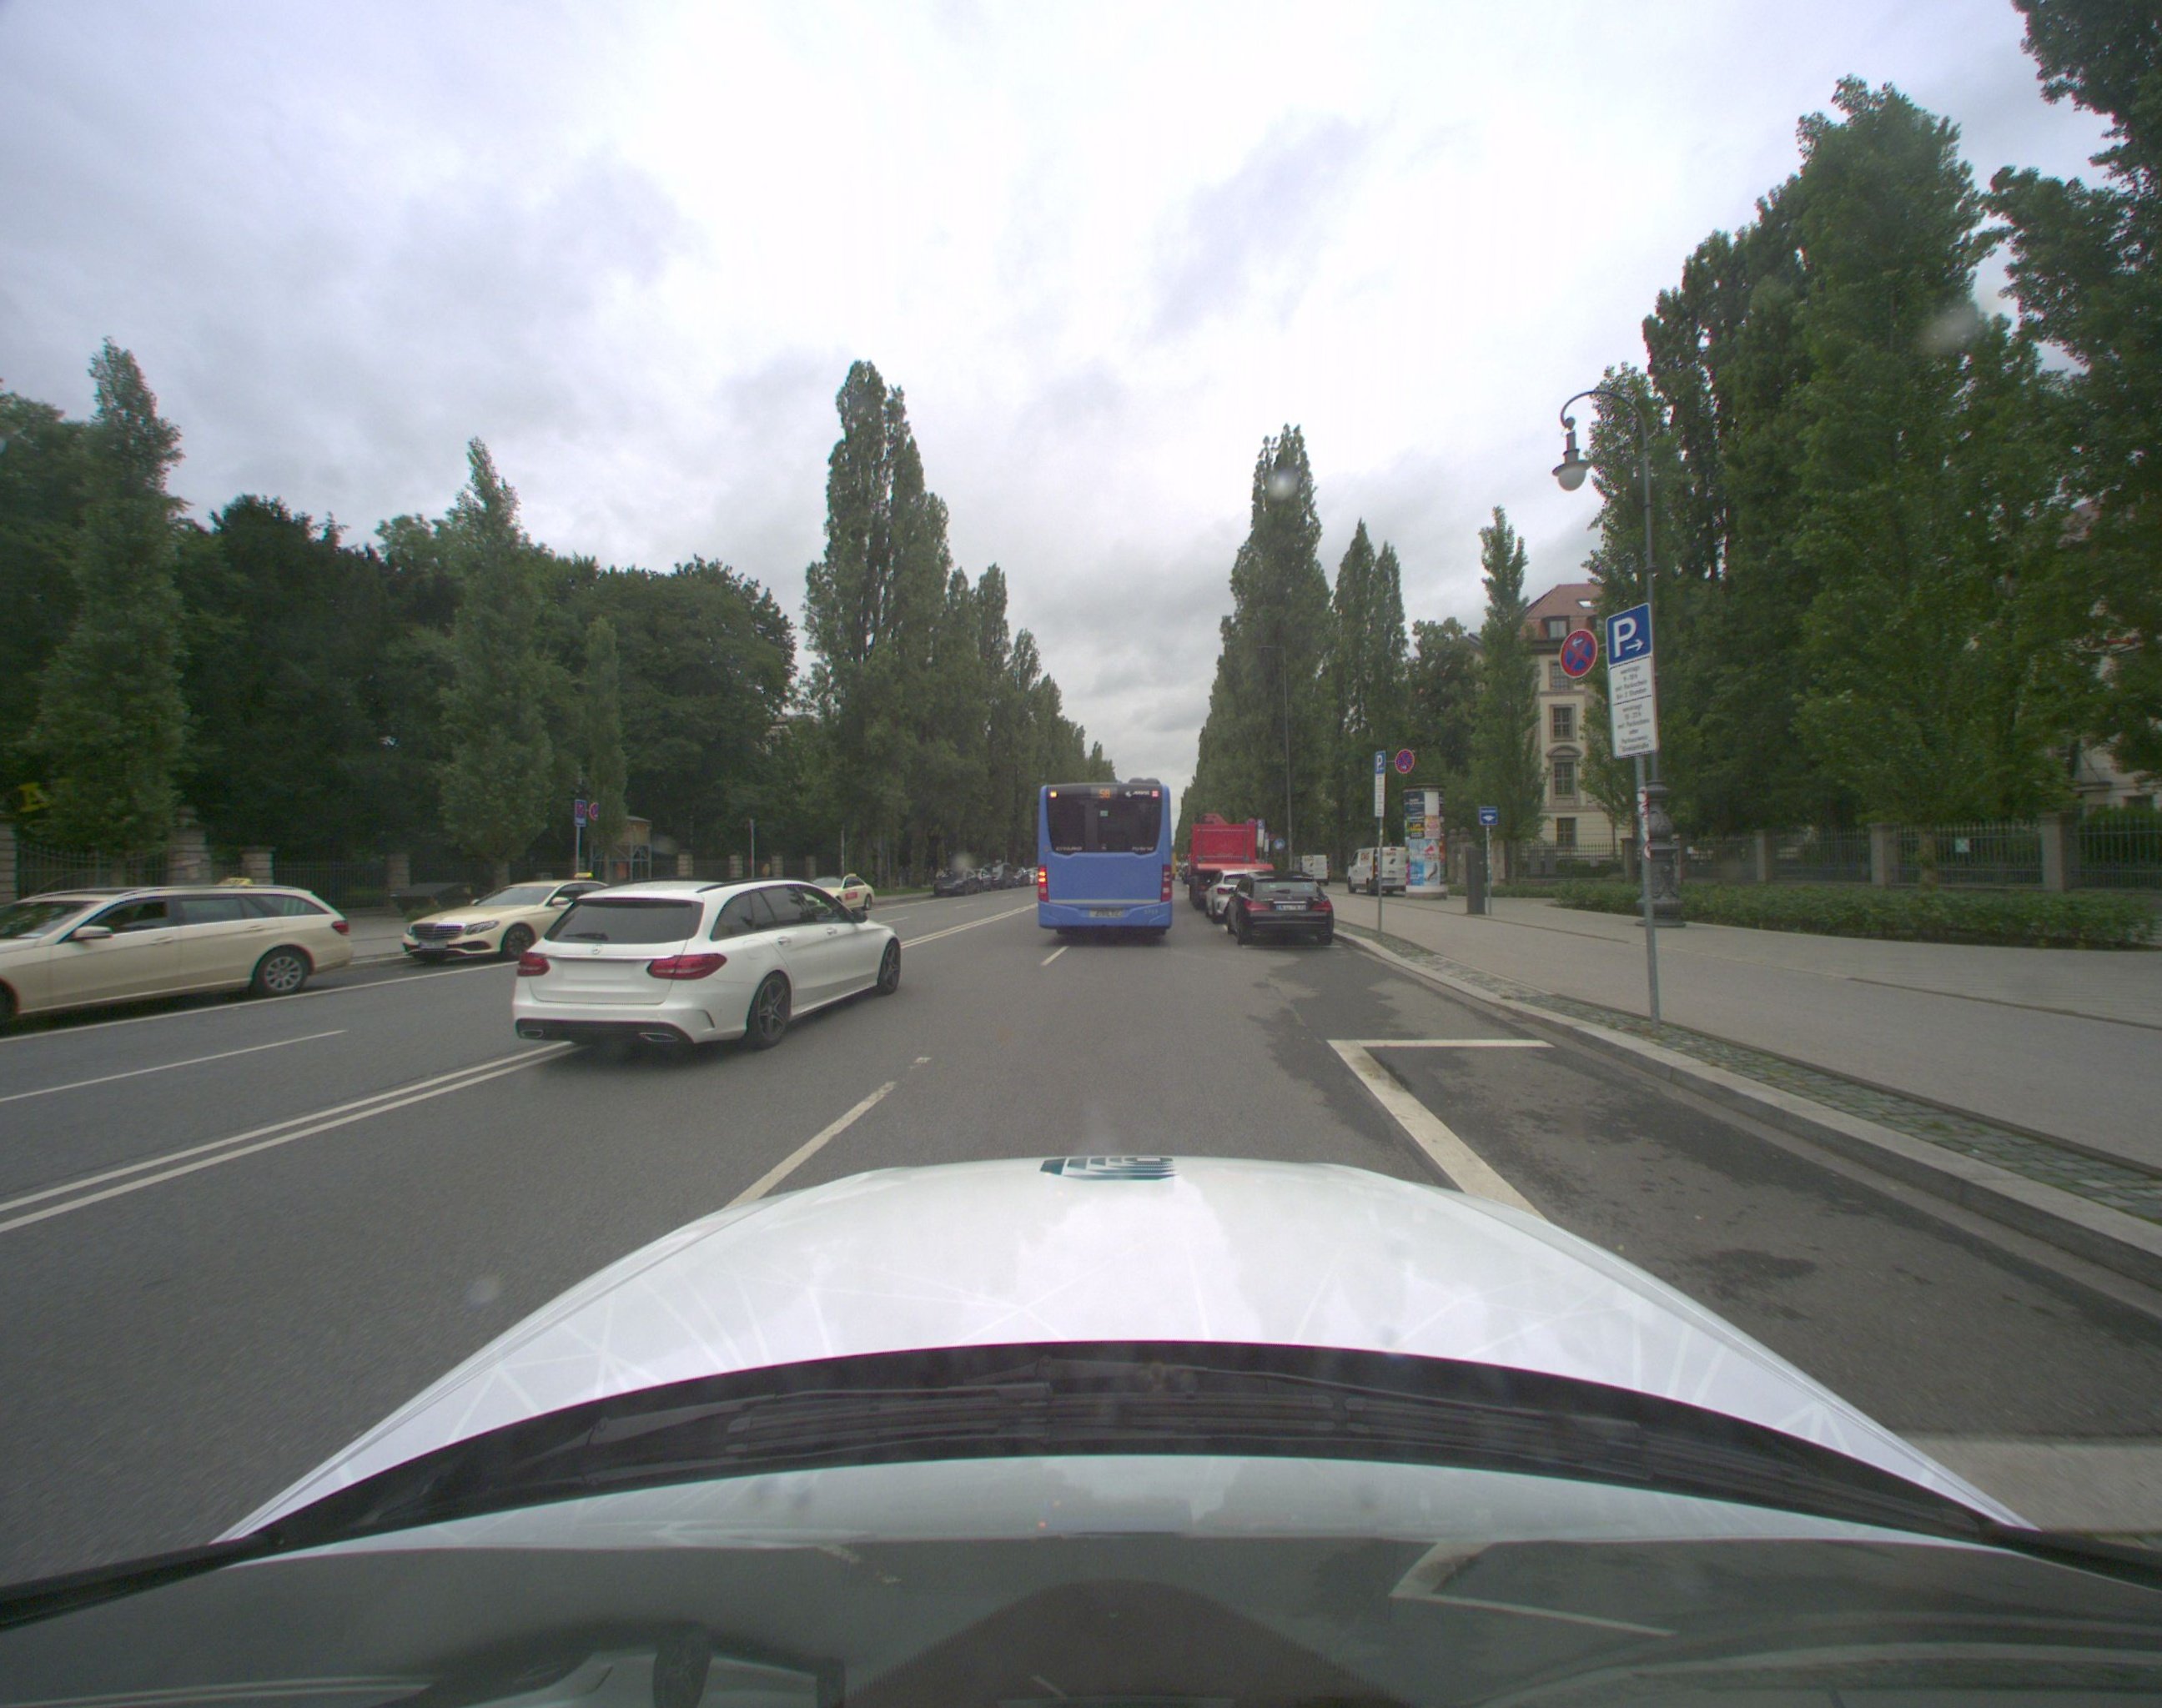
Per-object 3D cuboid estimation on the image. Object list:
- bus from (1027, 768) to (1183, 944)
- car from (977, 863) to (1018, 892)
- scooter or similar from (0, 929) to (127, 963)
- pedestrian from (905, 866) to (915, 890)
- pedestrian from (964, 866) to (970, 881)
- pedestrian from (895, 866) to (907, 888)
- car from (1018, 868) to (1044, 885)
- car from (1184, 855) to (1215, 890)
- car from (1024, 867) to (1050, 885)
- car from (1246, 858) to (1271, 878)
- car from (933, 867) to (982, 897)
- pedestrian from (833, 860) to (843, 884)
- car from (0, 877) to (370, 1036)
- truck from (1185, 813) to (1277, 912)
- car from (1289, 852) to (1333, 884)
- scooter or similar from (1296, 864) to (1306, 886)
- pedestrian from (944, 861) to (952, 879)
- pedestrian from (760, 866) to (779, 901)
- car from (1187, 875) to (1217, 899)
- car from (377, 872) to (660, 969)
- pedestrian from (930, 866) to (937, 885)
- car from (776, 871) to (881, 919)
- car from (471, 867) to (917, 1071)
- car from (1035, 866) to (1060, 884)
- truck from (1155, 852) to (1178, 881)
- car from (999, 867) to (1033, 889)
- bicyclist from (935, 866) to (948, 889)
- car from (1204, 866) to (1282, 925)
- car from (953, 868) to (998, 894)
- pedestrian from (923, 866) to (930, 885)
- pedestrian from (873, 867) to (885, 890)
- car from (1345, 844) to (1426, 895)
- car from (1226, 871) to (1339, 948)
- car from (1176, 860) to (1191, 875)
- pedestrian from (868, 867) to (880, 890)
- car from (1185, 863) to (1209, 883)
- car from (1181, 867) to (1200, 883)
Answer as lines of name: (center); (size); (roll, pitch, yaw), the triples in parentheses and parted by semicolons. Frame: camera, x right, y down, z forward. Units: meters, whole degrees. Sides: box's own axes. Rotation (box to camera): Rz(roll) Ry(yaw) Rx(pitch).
bus: (0.735, 0.093, 19.464); (2.843, 3.214, 9.068); (0, -1, 4)
car: (-6.206, 1.716, 61.028); (1.983, 1.956, 4.945); (-3, -1, 6)
scooter or similar: (-21.894, 1.948, 17.025); (2.246, 0.518, 1.318); (-1, -1, -35)
pedestrian: (-14.528, 2.001, 69.134); (0.663, 2.014, 0.639); (0, -1, 5)
pedestrian: (-12.606, 2.152, 90.260); (0.547, 1.748, 0.673); (0, -1, 5)
pedestrian: (-15.188, 1.937, 68.625); (0.743, 1.854, 0.759); (0, -1, 7)
car: (-4.543, 2.010, 74.406); (1.668, 1.422, 4.244); (-3, -1, 6)
car: (8.910, 1.371, 61.468); (2.064, 2.479, 6.293); (0, -1, 6)
car: (-4.267, 2.120, 79.651); (1.776, 1.588, 4.469); (-3, -1, 7)
car: (18.501, 1.451, 85.086); (1.984, 1.925, 5.331); (-1, -1, 5)
car: (-7.407, 1.655, 49.231); (1.773, 1.596, 4.621); (-3, -1, 6)
pedestrian: (-20.345, 1.509, 68.204); (0.694, 2.014, 0.561); (0, -1, 6)
car: (-11.645, 1.124, 9.657); (1.809, 1.559, 4.866); (-3, -1, 6)
truck: (5.454, 0.331, 31.320); (2.699, 3.110, 10.444); (-1, -1, 6)
car: (15.023, 0.934, 53.445); (1.983, 1.946, 5.092); (-1, -1, 7)
scooter or similar: (12.685, 1.209, 46.926); (0.335, 1.266, 1.188); (-1, -1, 7)
pedestrian: (-12.759, 1.552, 78.214); (0.605, 1.757, 0.758); (-1, -1, 5)
pedestrian: (-15.535, 1.461, 40.611); (0.580, 1.720, 0.788); (0, -1, 5)
car: (8.012, 2.163, 54.107); (1.745, 1.450, 4.006); (1, -1, 6)
car: (-10.992, 1.208, 16.507); (1.928, 1.624, 4.972); (-2, -2, 6)
pedestrian: (-13.149, 1.899, 72.693); (0.506, 1.707, 0.570); (0, -1, 7)
car: (-9.389, 1.484, 30.763); (1.920, 1.497, 4.799); (-2, 0, 7)
car: (-3.297, 0.858, 8.197); (1.816, 1.454, 4.592); (0, -1, 8)
car: (-3.489, 2.196, 85.276); (1.871, 1.658, 4.724); (-3, -1, 5)
truck: (9.128, 1.320, 87.443); (2.316, 2.898, 7.343); (-1, -1, 6)
car: (-5.285, 1.964, 67.137); (1.806, 1.609, 5.061); (-3, -1, 6)
bicyclist: (-9.593, 1.618, 56.104); (0.690, 1.498, 0.862); (-1, -1, 5)
car: (4.437, 1.092, 22.854); (1.779, 1.460, 4.224); (0, -1, 6)
car: (-7.046, 1.796, 54.849); (1.881, 1.584, 4.661); (-2, -1, 6)
pedestrian: (-13.760, 1.926, 72.616); (0.506, 1.707, 0.570); (0, -1, 7)
pedestrian: (-15.819, 1.914, 63.676); (0.663, 1.722, 0.734); (-1, -1, 7)
car: (12.457, 0.625, 33.591); (1.871, 1.945, 4.891); (1, -1, 5)
car: (3.990, 1.039, 16.789); (1.726, 1.310, 4.378); (-1, -1, 7)
car: (14.152, 1.804, 112.785); (2.042, 2.014, 5.702); (-1, -1, 7)
pedestrian: (-15.166, 1.803, 59.762); (0.615, 1.660, 0.706); (0, -1, 7)
car: (9.630, 1.555, 67.666); (1.812, 1.590, 4.229); (0, -1, 6)
car: (10.960, 2.083, 81.687); (1.772, 1.582, 4.153); (1, -1, 6)
